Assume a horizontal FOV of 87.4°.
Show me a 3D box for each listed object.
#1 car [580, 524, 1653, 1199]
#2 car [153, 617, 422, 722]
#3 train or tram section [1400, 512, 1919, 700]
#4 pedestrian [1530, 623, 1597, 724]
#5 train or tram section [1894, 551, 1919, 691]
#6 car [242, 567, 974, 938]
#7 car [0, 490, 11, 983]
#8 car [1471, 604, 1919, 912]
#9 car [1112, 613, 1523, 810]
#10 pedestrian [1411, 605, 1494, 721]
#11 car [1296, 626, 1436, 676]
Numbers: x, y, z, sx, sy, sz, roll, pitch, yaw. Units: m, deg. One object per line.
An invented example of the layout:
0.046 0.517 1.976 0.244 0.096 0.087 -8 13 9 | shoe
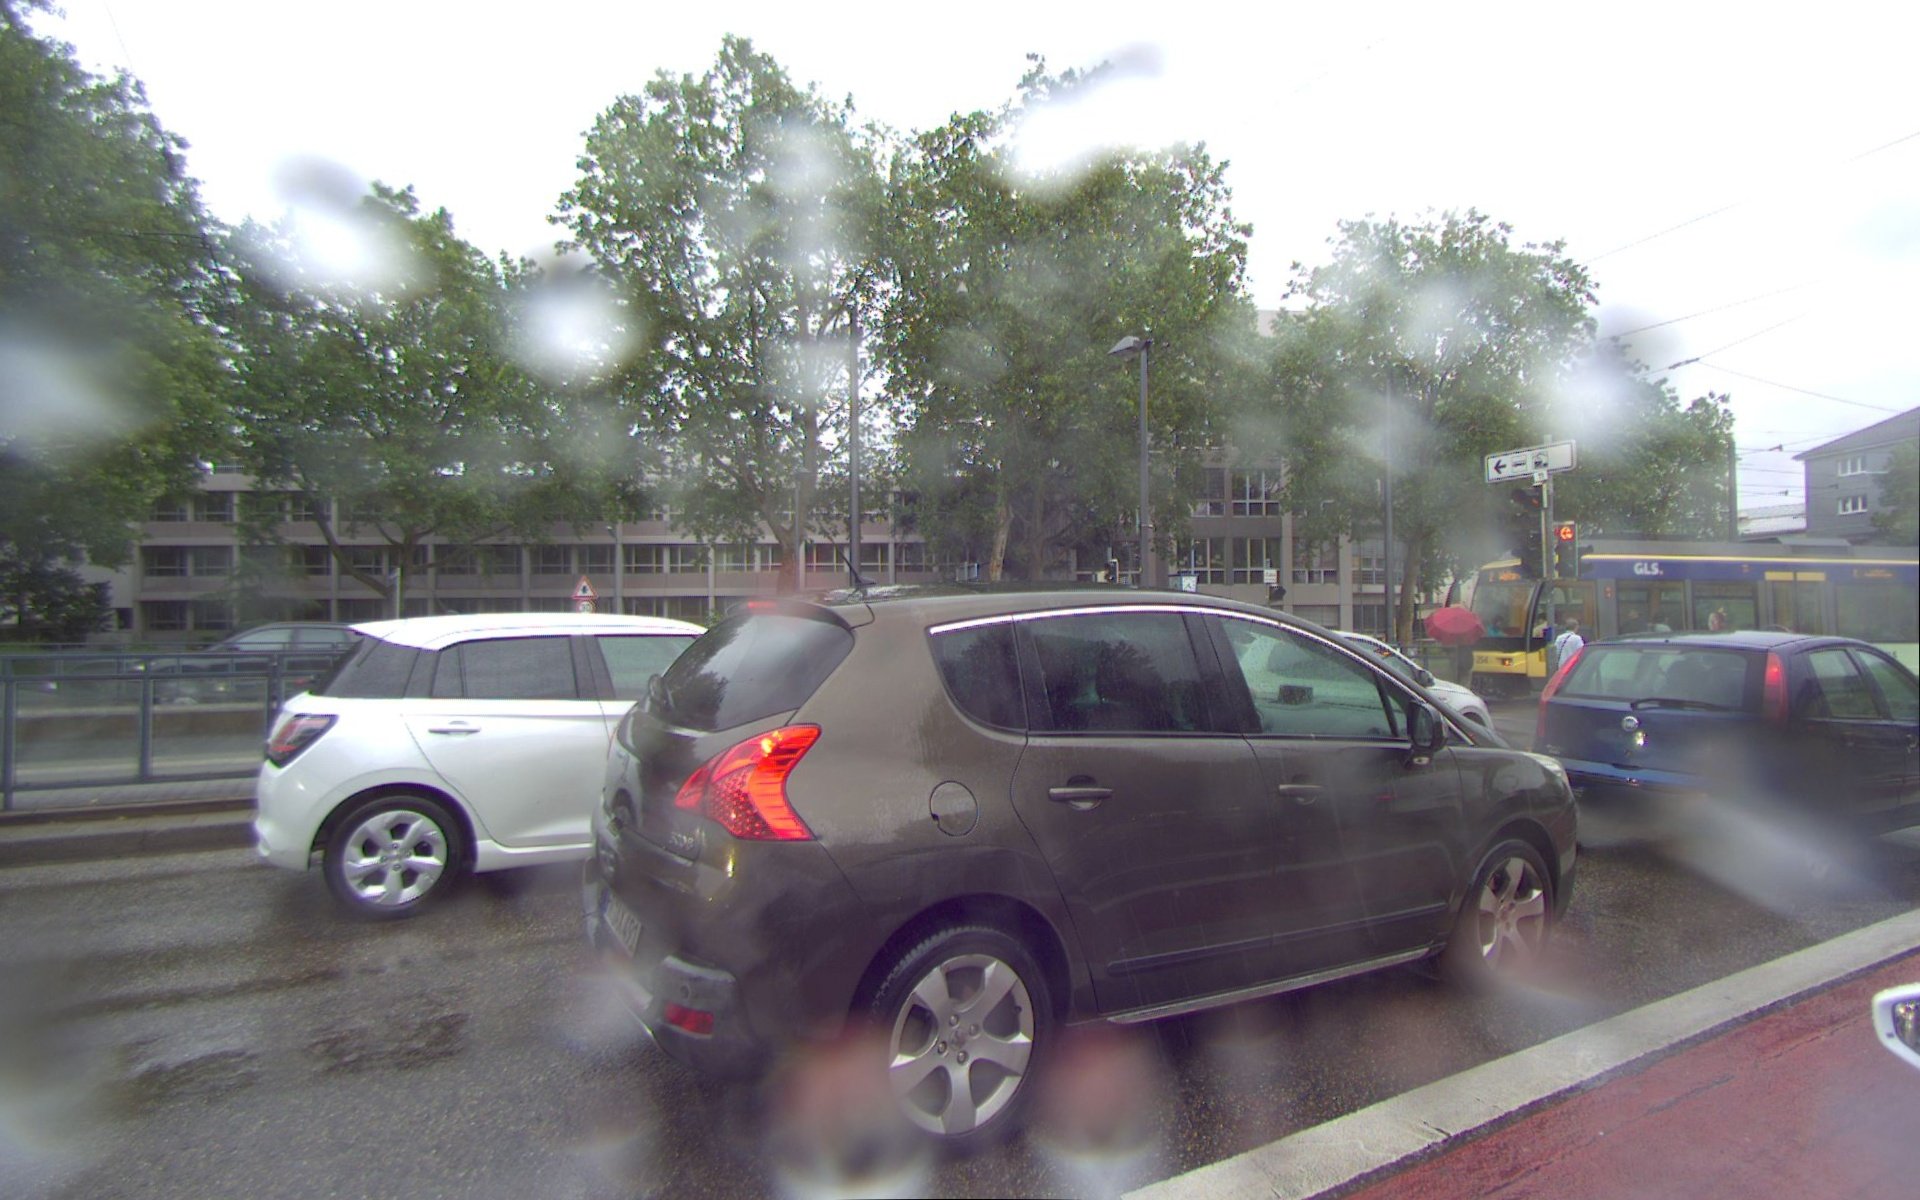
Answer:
0.780 0.720 4.115 4.124 1.690 1.825 1 -1 -30 | car
-12.345 1.232 18.770 3.953 1.744 1.984 1 -1 -30 | car
16.961 0.245 22.420 13.418 3.559 3.517 2 0 -11 | train or tram section
10.018 1.206 16.683 0.731 1.628 0.623 1 0 -23 | pedestrian
30.889 0.721 22.321 15.189 3.458 3.554 2 0 11 | train or tram section
-1.954 0.737 6.161 3.791 1.650 1.637 1 -2 -30 | car
-4.434 0.505 1.199 4.412 1.794 2.014 2 -1 -31 | car
5.492 0.874 6.960 3.776 1.599 1.719 1 -1 -30 | car
3.415 0.918 9.450 3.738 1.514 1.621 2 -1 -30 | car
7.813 0.985 15.946 0.888 1.769 0.762 0 -3 -30 | pedestrian
11.584 1.445 28.685 3.466 1.331 1.594 1 -1 -16 | car
